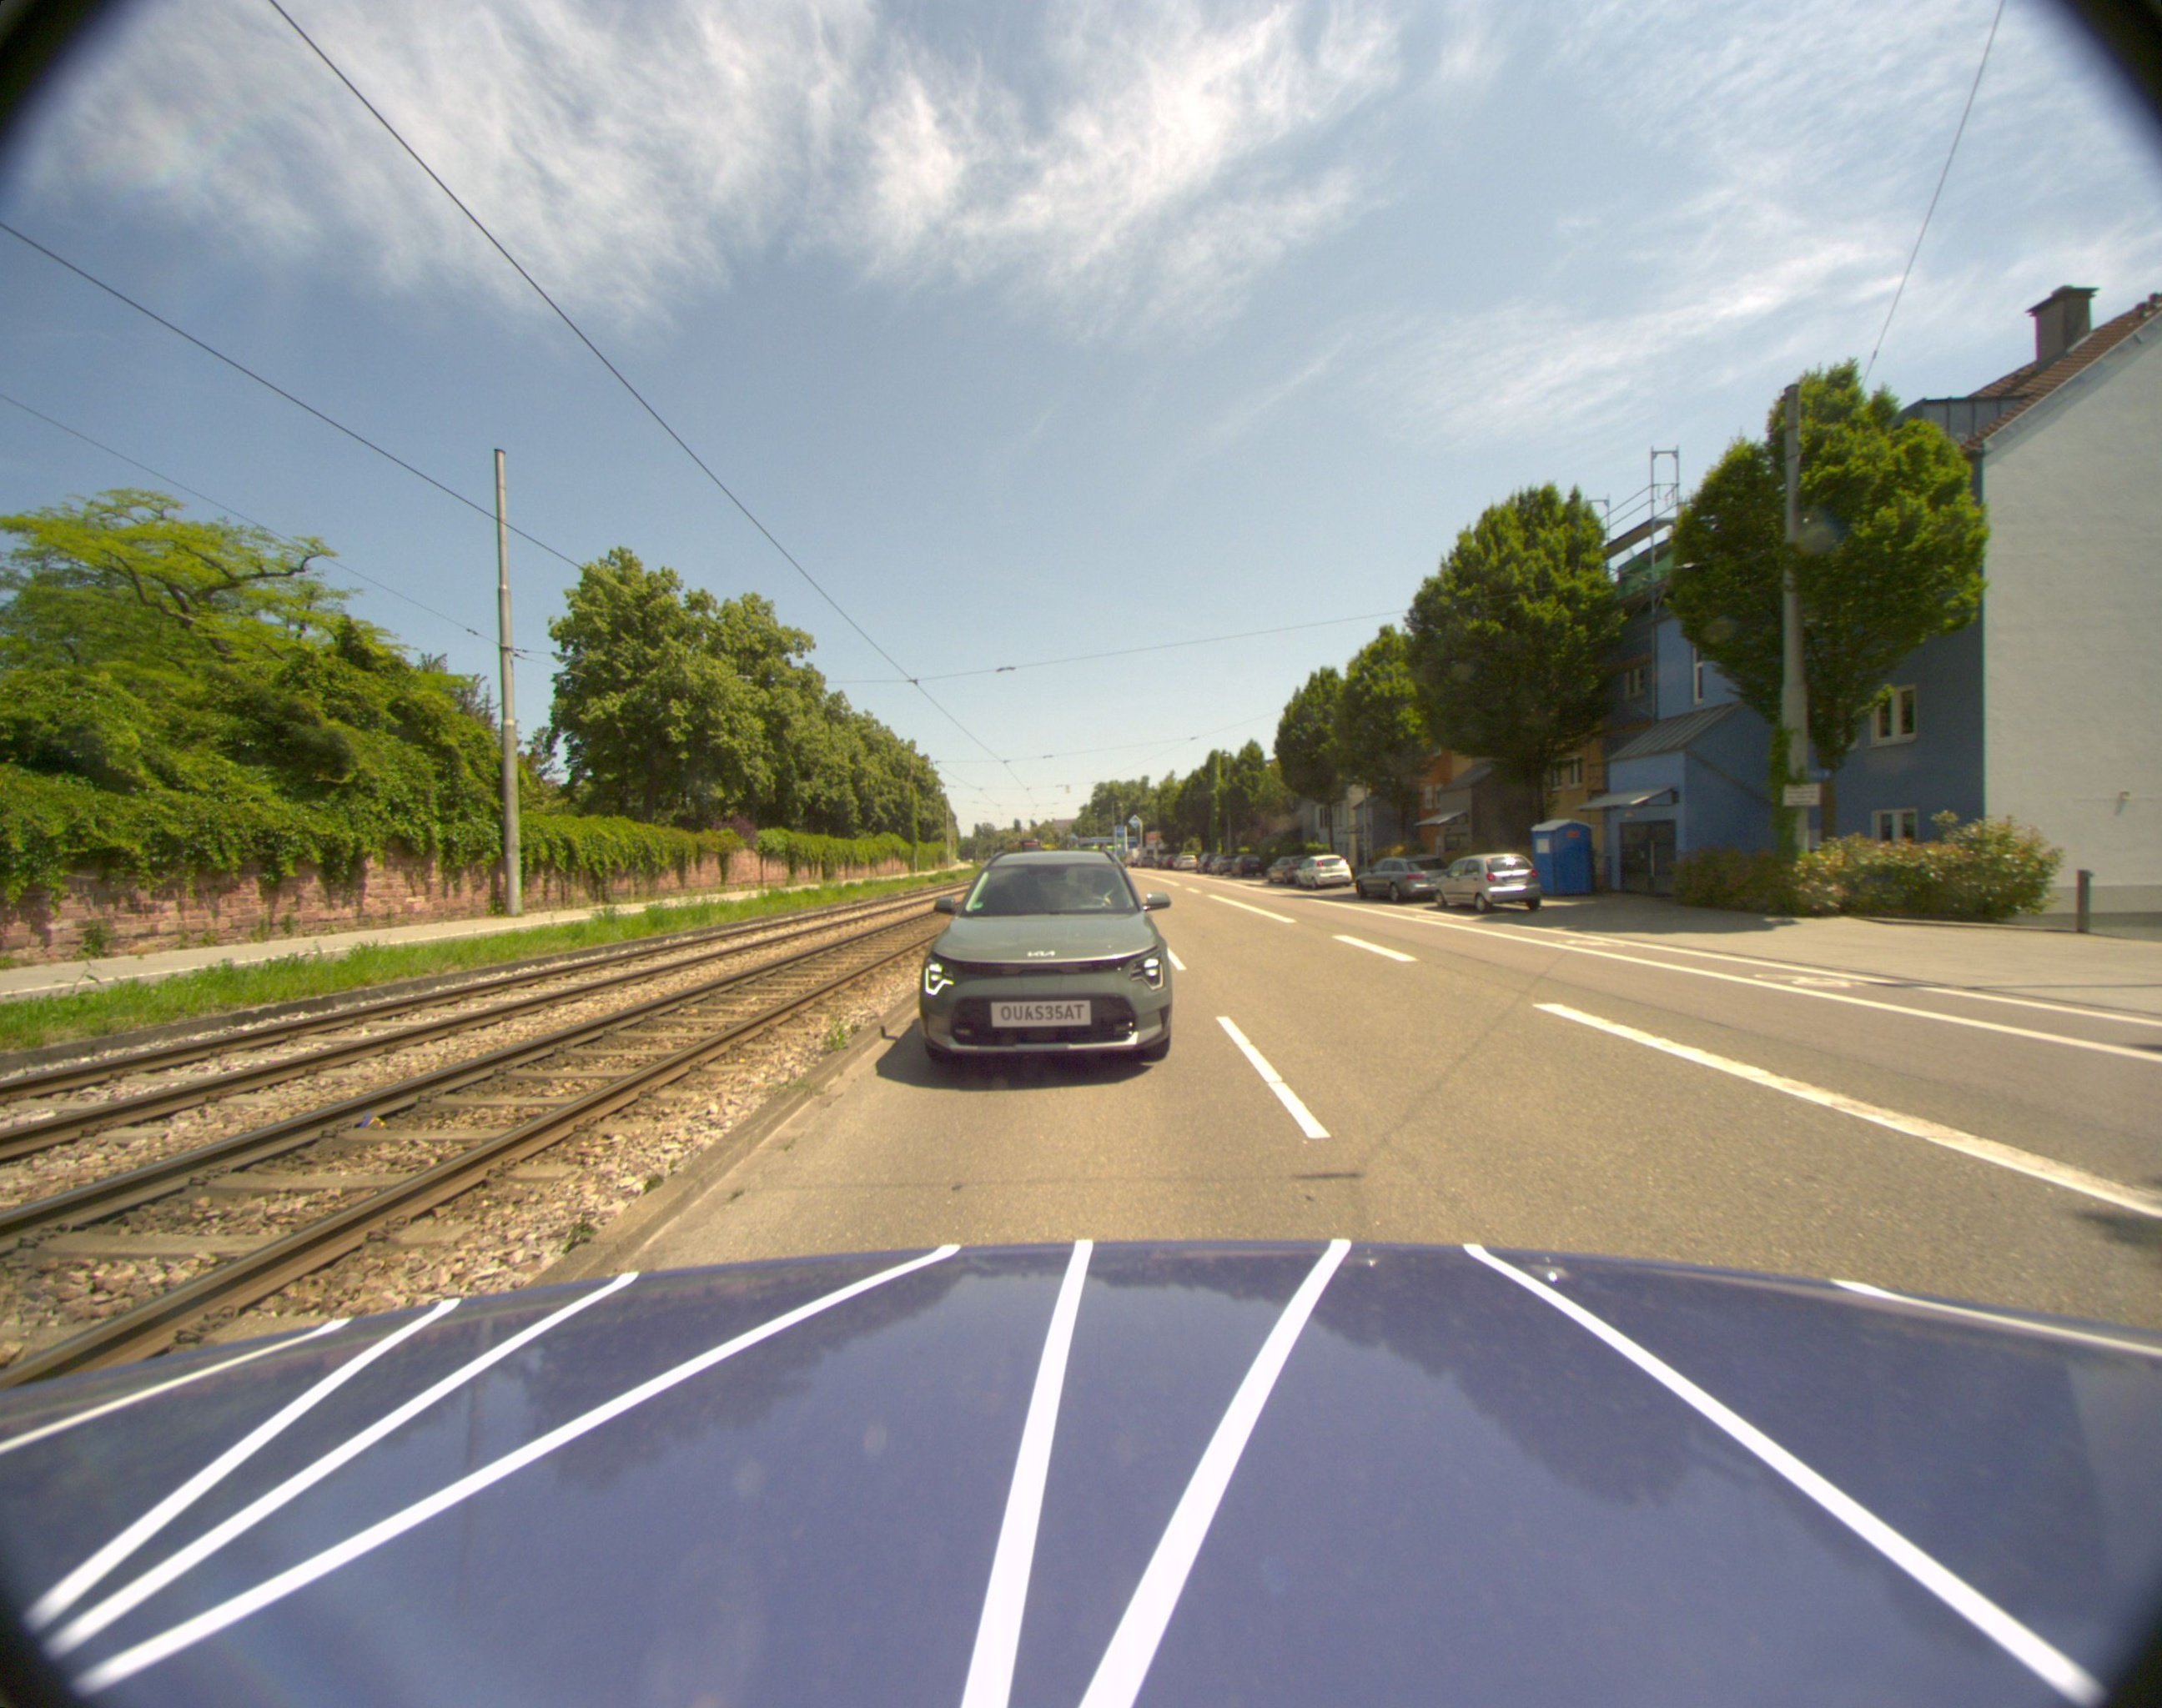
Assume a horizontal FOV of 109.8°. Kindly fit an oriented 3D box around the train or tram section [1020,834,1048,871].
[{"bbox_3d":[-5.459,-0.211,87.957,2.814,3.785,14.255,-2,1,-4],"label":"train or tram section"}]

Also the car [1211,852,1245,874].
[{"bbox_3d":[11.046,0.647,57.376,1.656,1.487,4.082,-5,0,-1],"label":"car"}]

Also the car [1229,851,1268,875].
[{"bbox_3d":[11.570,0.583,52.603,1.656,1.487,4.082,-5,0,-1],"label":"car"}]

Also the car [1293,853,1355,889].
[{"bbox_3d":[11.358,0.768,35.744,1.656,1.487,3.649,-5,0,-1],"label":"car"}]

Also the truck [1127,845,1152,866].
[{"bbox_3d":[7.720,0.187,100.664,2.135,2.565,4.860,-5,0,-8],"label":"truck"}]

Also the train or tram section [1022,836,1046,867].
[{"bbox_3d":[-6.311,-0.336,102.141,2.784,3.789,14.255,-2,1,-3],"label":"train or tram section"}]

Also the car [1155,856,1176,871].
[{"bbox_3d":[9.496,1.021,85.579,1.865,1.487,3.470,-5,0,-1],"label":"car"}]

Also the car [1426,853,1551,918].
[{"bbox_3d":[10.979,0.792,20.706,1.505,1.487,3.282,-5,0,-1],"label":"car"}]

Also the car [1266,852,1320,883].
[{"bbox_3d":[11.430,0.687,41.154,1.656,1.487,4.082,-5,0,-1],"label":"car"}]

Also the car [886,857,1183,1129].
[{"bbox_3d":[-0.259,0.860,6.862,1.759,1.574,4.427,-2,0,1],"label":"car"}]

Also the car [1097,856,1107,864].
[{"bbox_3d":[4.034,1.118,145.865,1.865,1.487,3.470,-1,0,-1],"label":"car"}]

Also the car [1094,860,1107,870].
[{"bbox_3d":[3.122,1.724,121.020,1.865,1.487,3.470,-5,0,-1],"label":"car"}]

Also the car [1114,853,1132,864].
[{"bbox_3d":[6.216,0.711,112.366,1.866,1.487,3.468,-5,0,-8],"label":"car"}]

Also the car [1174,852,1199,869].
[{"bbox_3d":[10.400,0.586,74.940,1.723,1.487,4.082,-5,0,-1],"label":"car"}]

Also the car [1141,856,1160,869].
[{"bbox_3d":[8.628,1.022,94.594,1.865,1.487,3.470,-5,0,-1],"label":"car"}]

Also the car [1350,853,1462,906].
[{"bbox_3d":[10.859,0.792,25.761,1.680,1.487,4.638,-5,0,0],"label":"car"}]

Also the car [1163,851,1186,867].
[{"bbox_3d":[9.912,0.535,80.642,1.865,1.487,3.470,-5,0,-1],"label":"car"}]

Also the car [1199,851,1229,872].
[{"bbox_3d":[11.055,0.607,63.328,1.656,1.578,4.082,-5,0,-1],"label":"car"}]
